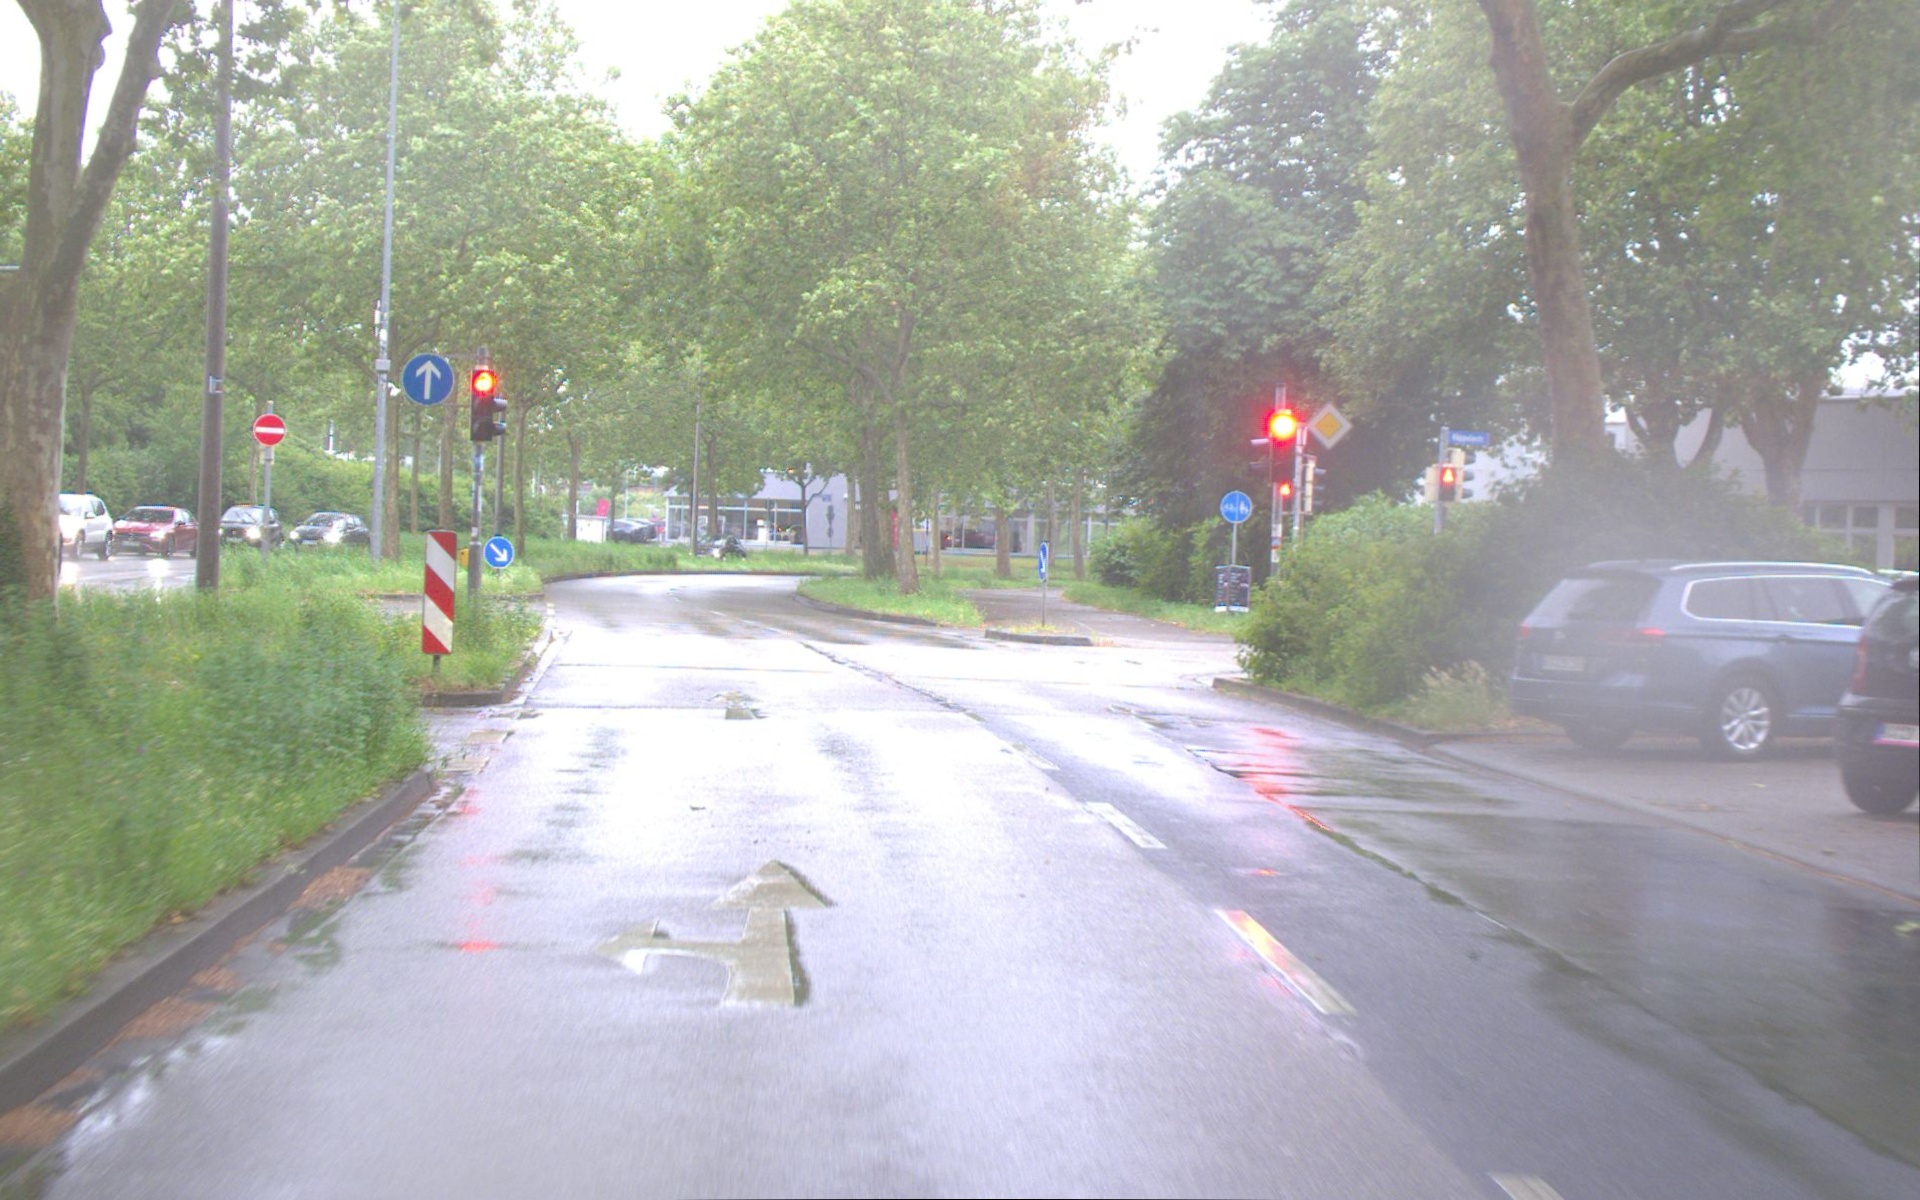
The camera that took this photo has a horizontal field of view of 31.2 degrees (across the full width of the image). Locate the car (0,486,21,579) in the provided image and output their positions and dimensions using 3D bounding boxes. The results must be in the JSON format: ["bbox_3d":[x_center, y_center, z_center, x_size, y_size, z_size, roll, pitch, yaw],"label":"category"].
[{"bbox_3d":[-19.825,-1.359,67.843,1.743,1.835,5.122,1,1,-7],"label":"car"}]

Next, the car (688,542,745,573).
[{"bbox_3d":[-11.070,-1.937,156.347,1.588,1.368,4.260,2,1,10],"label":"car"}]

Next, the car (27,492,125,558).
[{"bbox_3d":[-22.861,-1.935,89.030,1.743,1.626,4.445,1,1,-5],"label":"car"}]

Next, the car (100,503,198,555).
[{"bbox_3d":[-23.018,-2.033,97.679,1.743,1.403,4.445,1,1,-1],"label":"car"}]

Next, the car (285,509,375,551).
[{"bbox_3d":[-21.086,-2.345,115.238,1.588,1.368,4.260,2,1,10],"label":"car"}]

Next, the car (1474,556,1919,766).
[{"bbox_3d":[6.272,0.443,26.116,4.481,1.454,1.749,1,1,-27],"label":"car"}]

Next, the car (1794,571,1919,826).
[{"bbox_3d":[6.935,0.581,20.364,3.680,1.411,1.749,1,1,-31],"label":"car"}]

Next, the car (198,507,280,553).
[{"bbox_3d":[-22.435,-2.184,107.108,1.587,1.368,3.333,1,1,5],"label":"car"}]
